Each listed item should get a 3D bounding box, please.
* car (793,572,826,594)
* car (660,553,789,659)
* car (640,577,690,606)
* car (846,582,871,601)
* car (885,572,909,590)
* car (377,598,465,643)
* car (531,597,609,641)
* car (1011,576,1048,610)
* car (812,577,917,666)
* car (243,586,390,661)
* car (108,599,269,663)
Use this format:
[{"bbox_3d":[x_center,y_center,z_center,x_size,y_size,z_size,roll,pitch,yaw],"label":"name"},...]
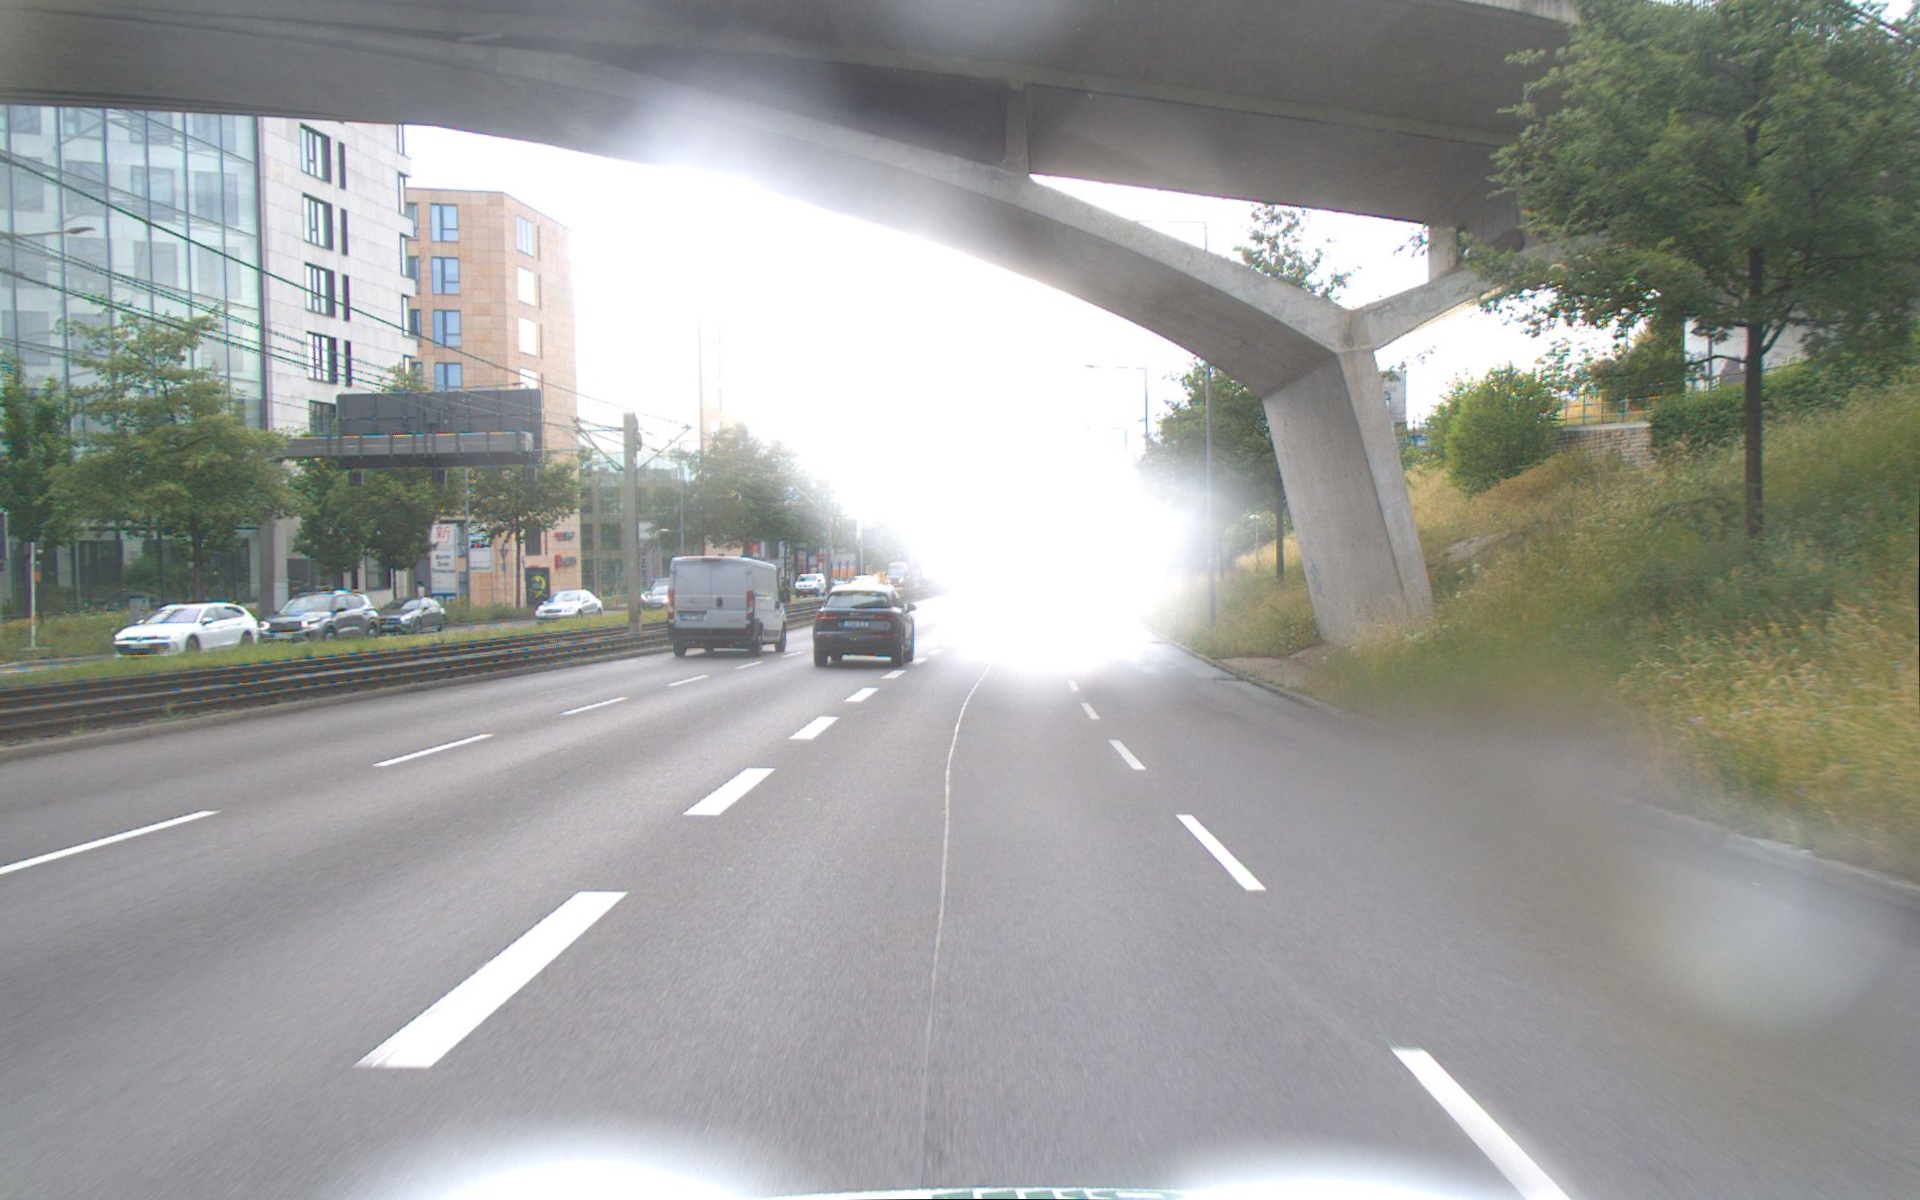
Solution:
[{"bbox_3d":[-12.392,-1.400,136.275,1.897,1.792,5.065,1,1,4],"label":"car"},{"bbox_3d":[-5.487,0.083,39.167,2.221,2.324,4.761,1,1,1],"label":"car"},{"bbox_3d":[-16.735,-0.486,93.929,1.771,1.560,4.277,1,1,4],"label":"car"},{"bbox_3d":[-10.169,-0.842,165.953,1.897,1.792,4.813,1,1,4],"label":"car"},{"bbox_3d":[-6.470,-1.979,169.493,1.897,1.792,4.813,1,1,4],"label":"car"},{"bbox_3d":[-21.405,0.779,65.820,1.727,1.625,4.494,1,1,4],"label":"car"},{"bbox_3d":[-15.822,0.735,67.304,1.727,1.625,4.795,1,1,4],"label":"car"},{"bbox_3d":[3.479,-0.342,83.286,1.752,1.619,4.001,-1,0,1],"label":"car"},{"bbox_3d":[-1.941,0.440,34.739,1.883,1.740,4.098,1,-1,1],"label":"car"},{"bbox_3d":[-16.842,0.562,43.508,1.880,1.807,4.227,1,1,5],"label":"car"},{"bbox_3d":[-20.473,0.786,44.122,1.880,1.523,4.659,1,1,3],"label":"car"}]
